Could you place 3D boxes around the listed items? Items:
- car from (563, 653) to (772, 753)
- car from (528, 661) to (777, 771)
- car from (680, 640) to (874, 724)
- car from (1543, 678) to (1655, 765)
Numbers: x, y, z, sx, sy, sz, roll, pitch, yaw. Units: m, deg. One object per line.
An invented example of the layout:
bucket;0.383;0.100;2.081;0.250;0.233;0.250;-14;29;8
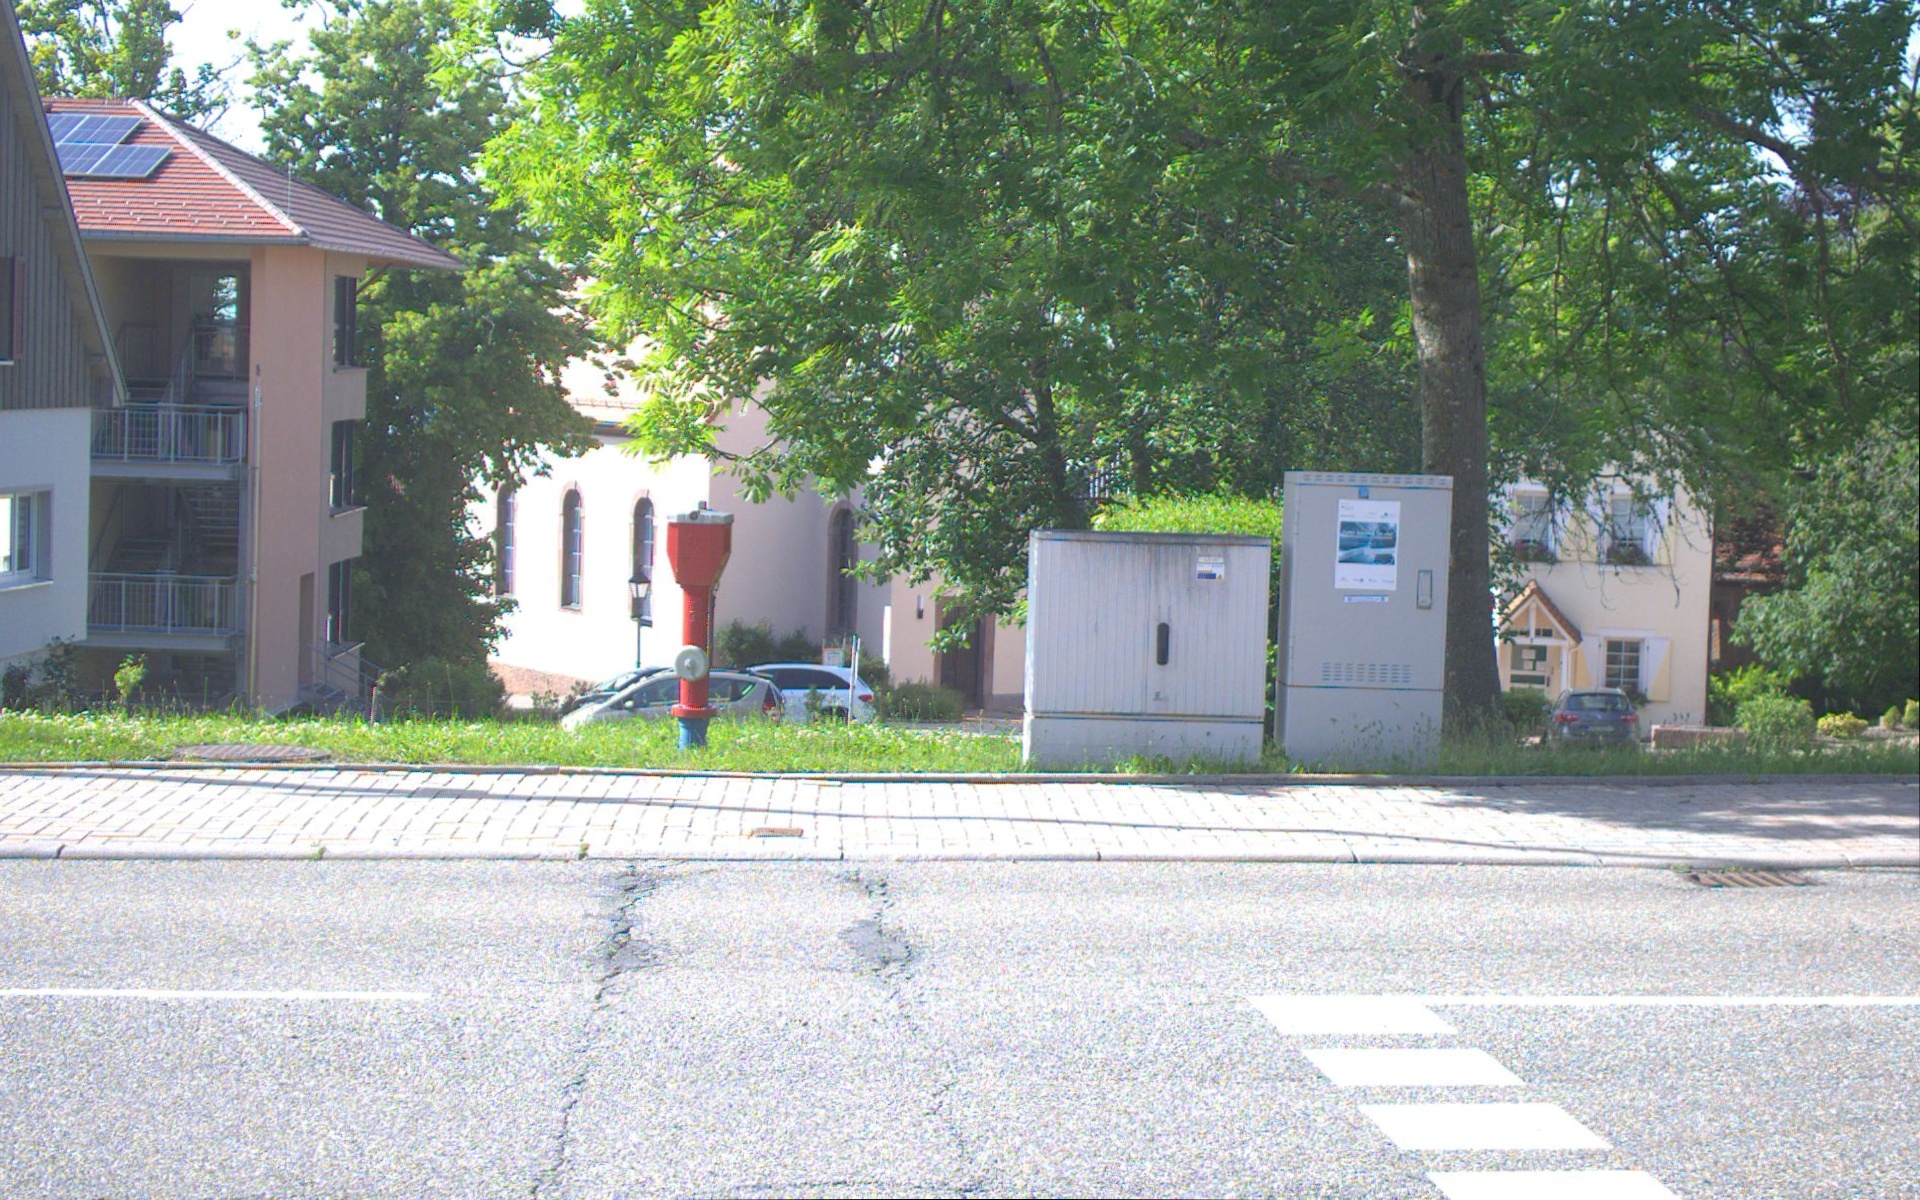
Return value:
car;-5.406;1.894;63.471;3.772;1.752;1.714;1;0;-6
car;-5.152;1.933;57.646;4.089;1.752;1.714;1;0;-5
car;-3.671;1.621;68.492;3.772;1.588;1.714;1;0;-6
car;12.593;2.376;67.937;1.708;1.536;3.785;0;0;4
